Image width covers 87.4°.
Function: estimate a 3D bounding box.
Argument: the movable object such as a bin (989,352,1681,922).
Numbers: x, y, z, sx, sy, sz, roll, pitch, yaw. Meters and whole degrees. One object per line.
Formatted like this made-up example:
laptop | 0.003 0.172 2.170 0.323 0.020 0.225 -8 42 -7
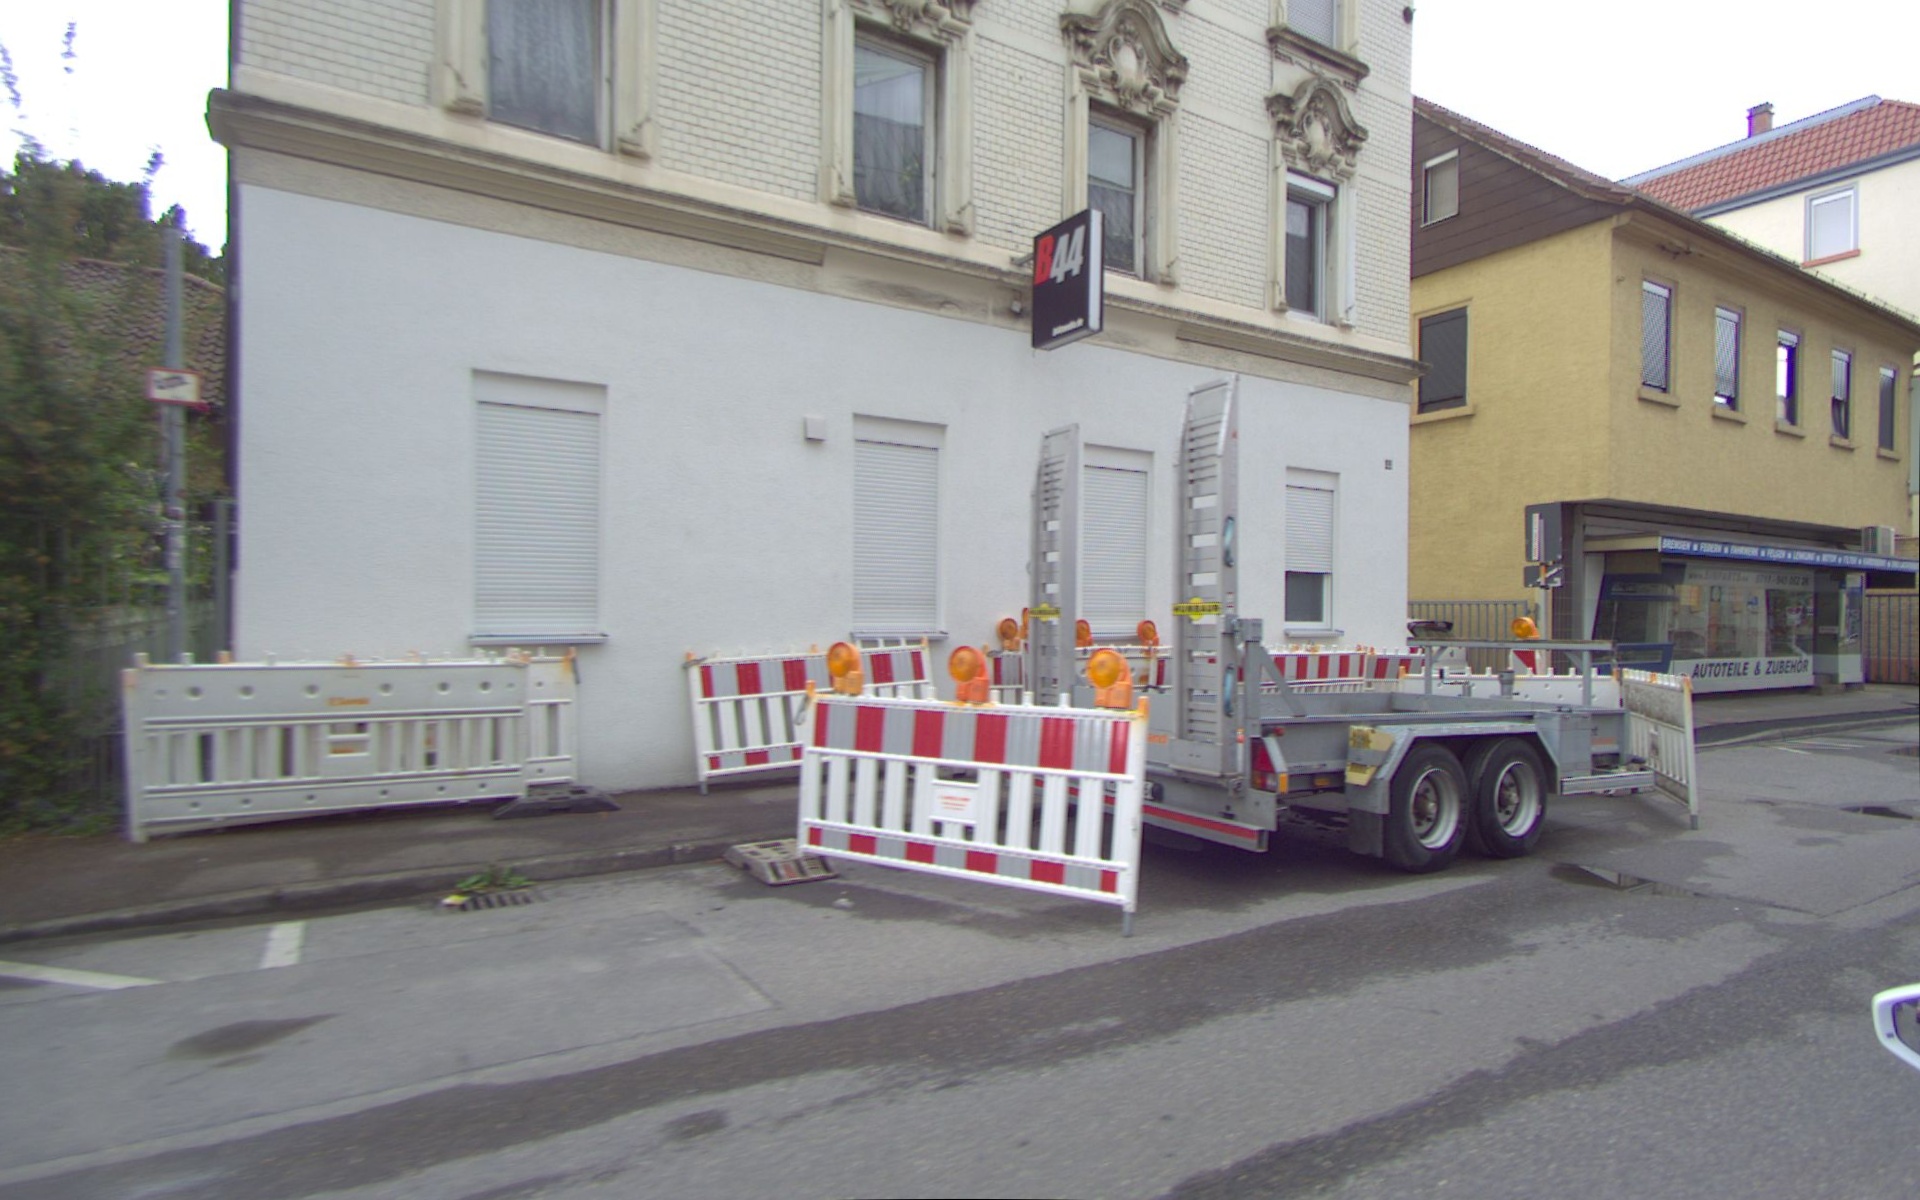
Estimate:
movable object such as a bin | 2.762 0.258 7.325 4.488 2.862 2.524 1 -2 -32
